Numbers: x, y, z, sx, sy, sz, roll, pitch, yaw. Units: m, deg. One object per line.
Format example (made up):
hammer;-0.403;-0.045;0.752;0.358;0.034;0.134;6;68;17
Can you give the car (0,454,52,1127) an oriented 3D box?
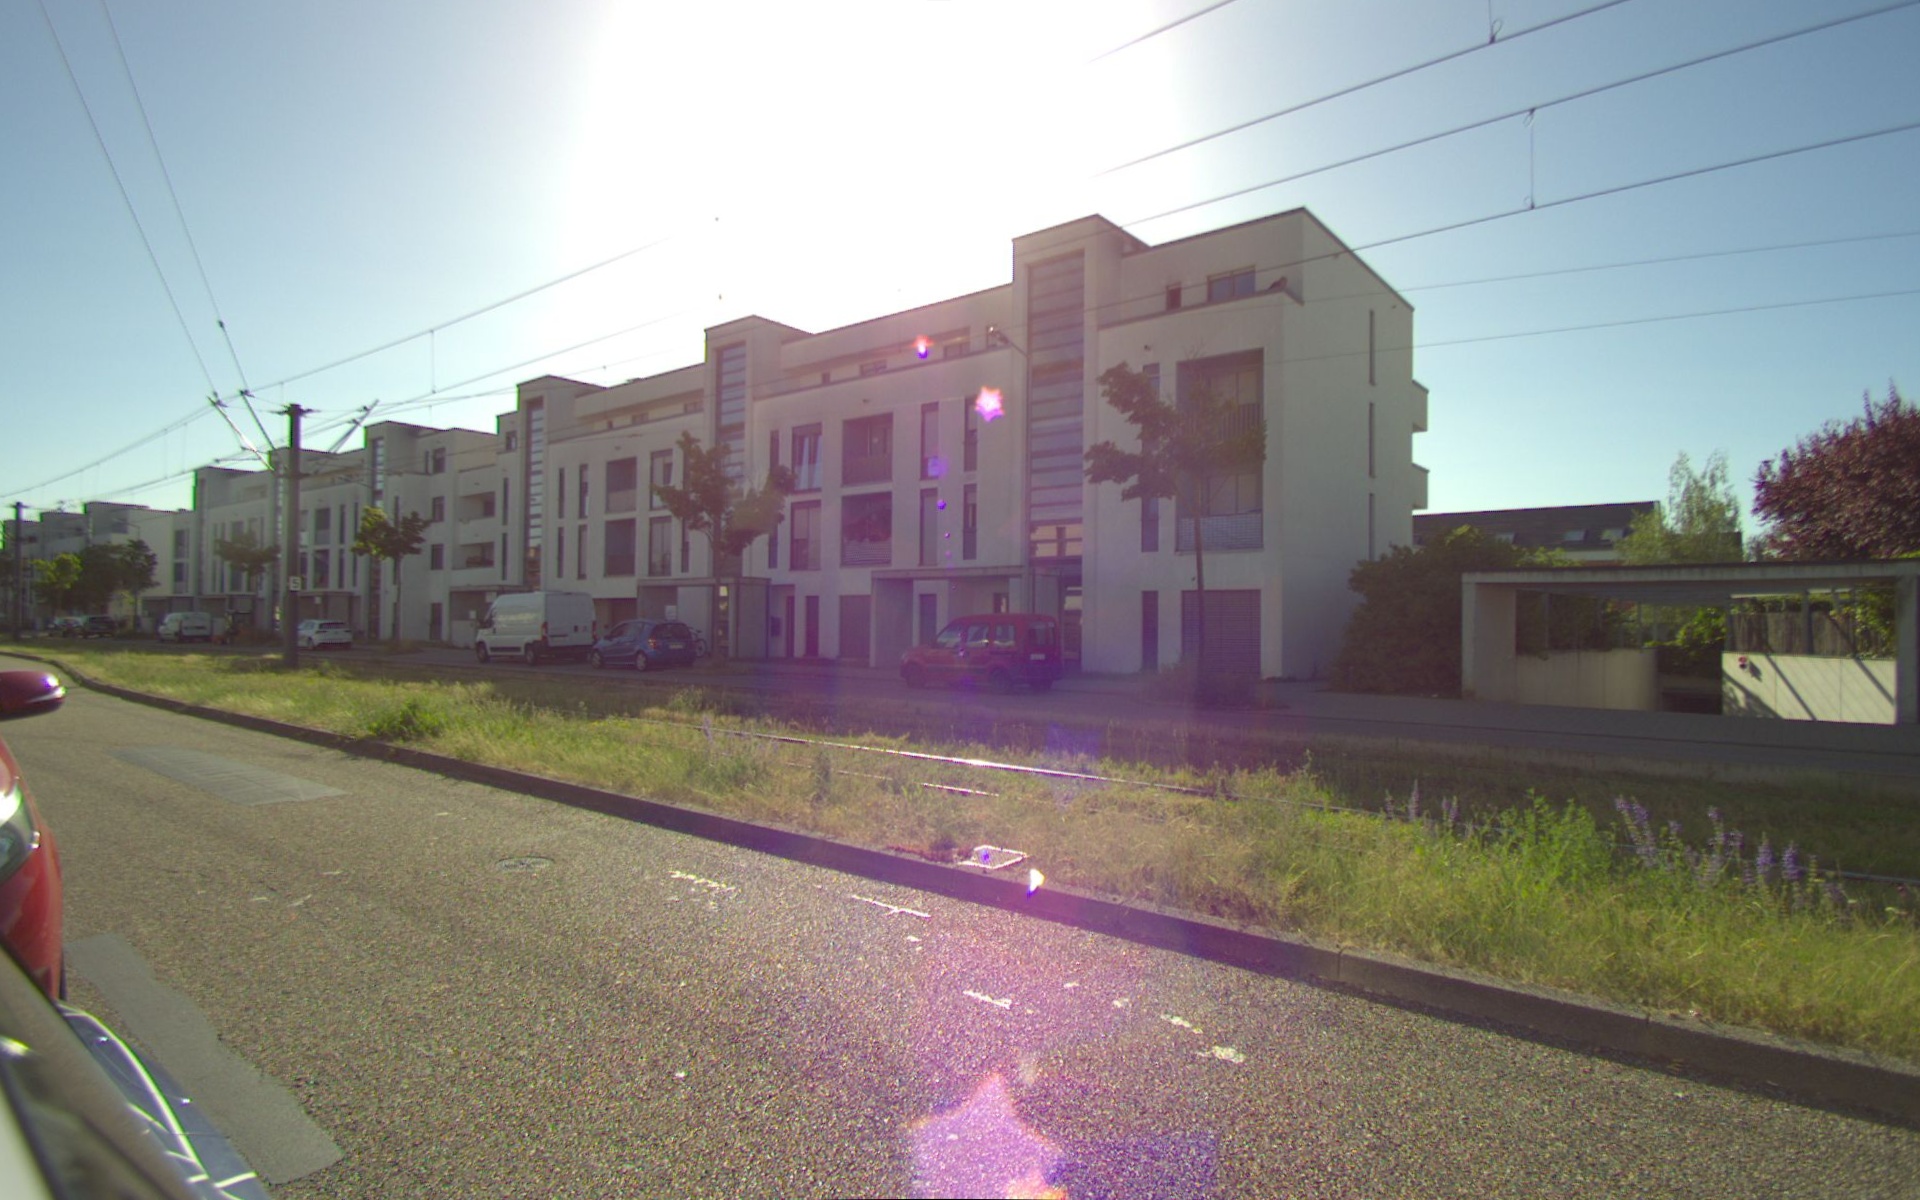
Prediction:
car;-4.894;0.556;3.677;4.505;1.868;1.850;-1;0;41

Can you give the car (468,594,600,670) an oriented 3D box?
car;-15.194;1.073;35.948;5.193;2.491;2.197;-1;0;40

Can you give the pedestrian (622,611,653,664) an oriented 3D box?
pedestrian;-11.398;1.314;35.775;0.785;1.836;0.766;-1;0;41

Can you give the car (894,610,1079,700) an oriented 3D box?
car;0.539;1.167;23.023;3.895;1.842;1.972;-1;0;43

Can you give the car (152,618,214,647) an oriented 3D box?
car;-47.354;1.960;61.628;4.277;1.693;1.900;-1;0;37

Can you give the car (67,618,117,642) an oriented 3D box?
car;-62.976;2.164;73.409;4.277;1.693;1.900;-1;0;37

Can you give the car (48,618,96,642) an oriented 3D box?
car;-67.521;2.255;76.933;4.277;1.693;1.900;-1;0;37

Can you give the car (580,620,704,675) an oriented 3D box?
car;-9.999;1.446;31.744;3.833;1.556;1.973;-1;0;40

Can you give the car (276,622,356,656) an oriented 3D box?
car;-31.134;1.837;48.903;4.277;1.517;1.900;-1;0;37
